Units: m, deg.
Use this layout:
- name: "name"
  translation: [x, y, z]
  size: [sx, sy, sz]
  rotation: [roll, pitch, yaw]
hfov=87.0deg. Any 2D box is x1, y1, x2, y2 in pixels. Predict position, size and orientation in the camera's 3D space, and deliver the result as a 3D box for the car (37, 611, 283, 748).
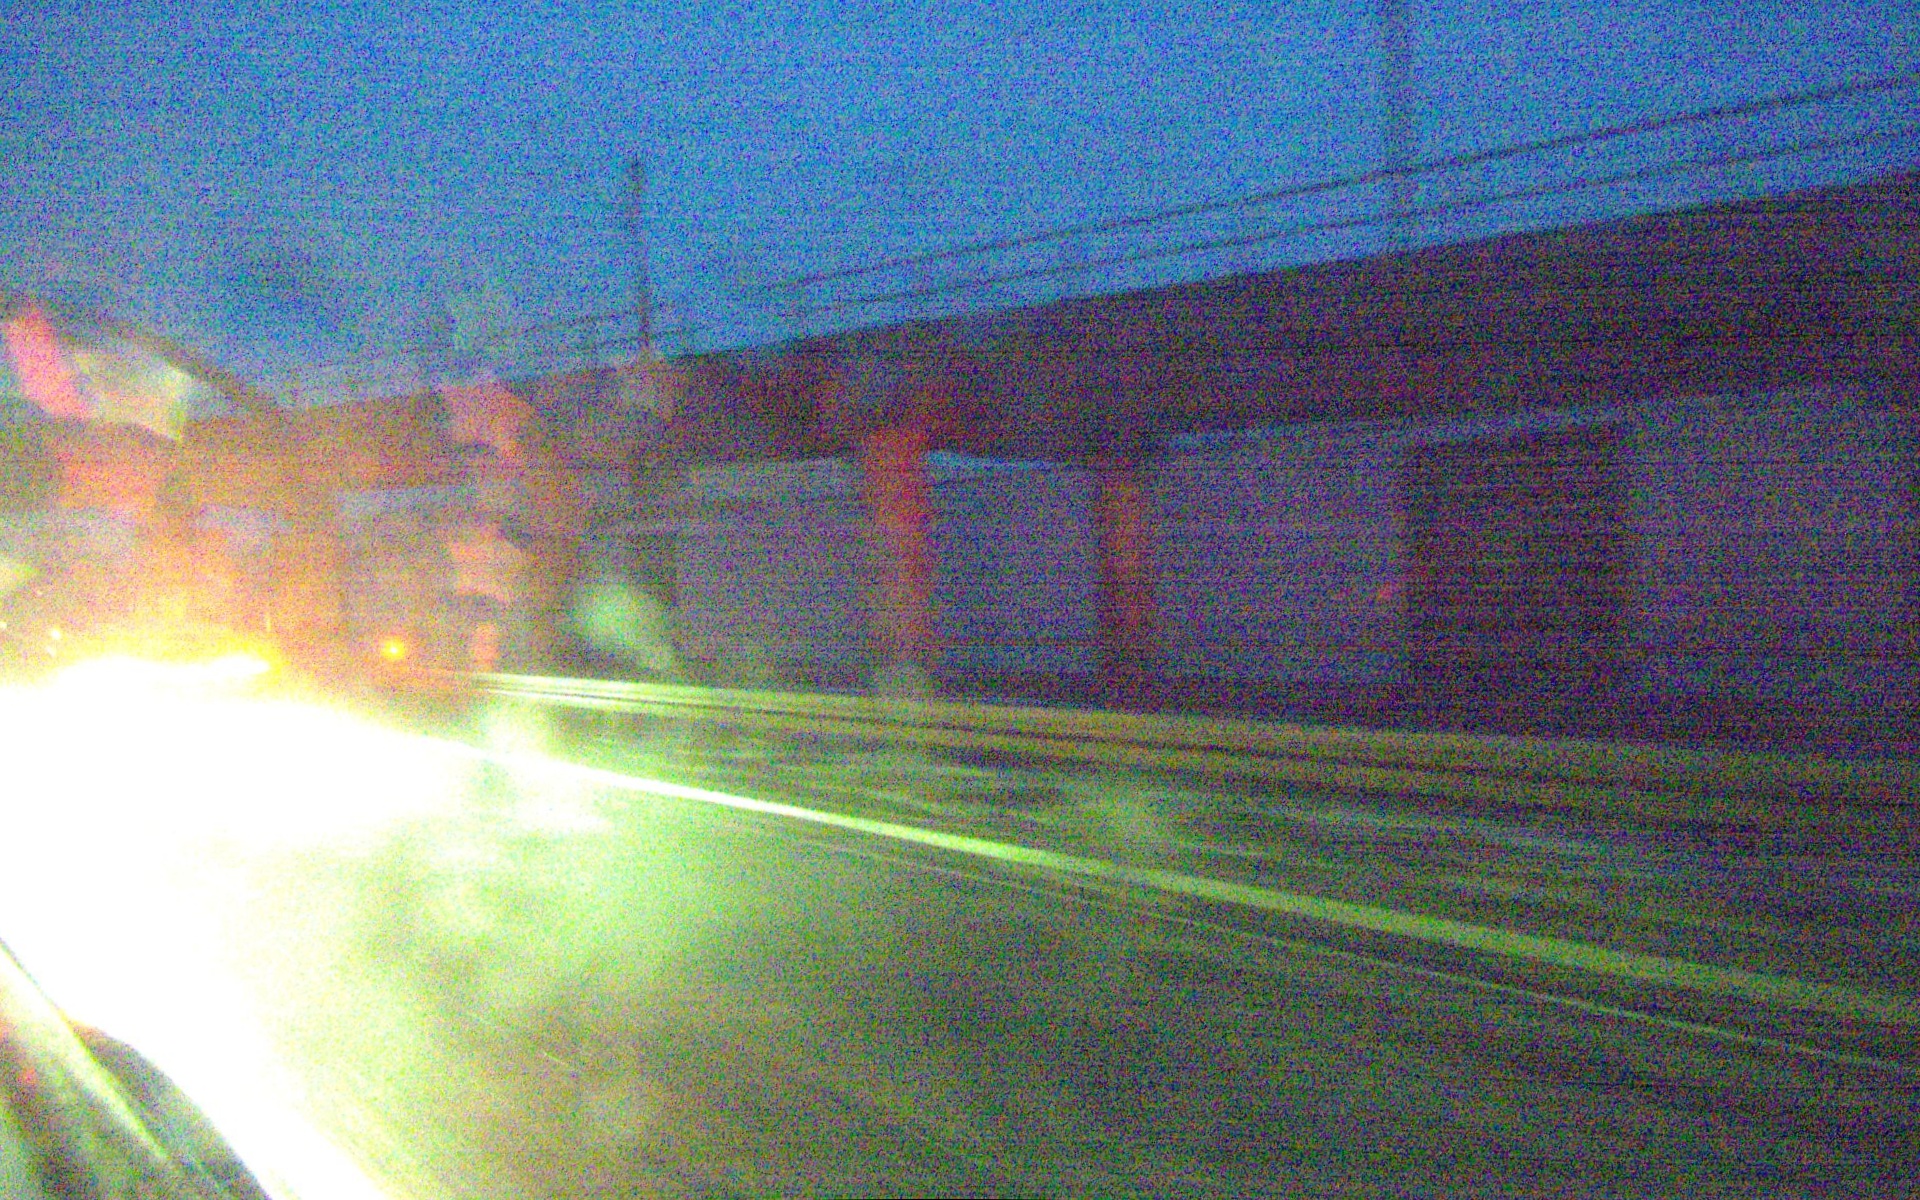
- name: "car"
  translation: [-11.086, 1.028, 13.924]
  size: [4.225, 1.556, 1.843]
  rotation: [-3, -1, 40]
